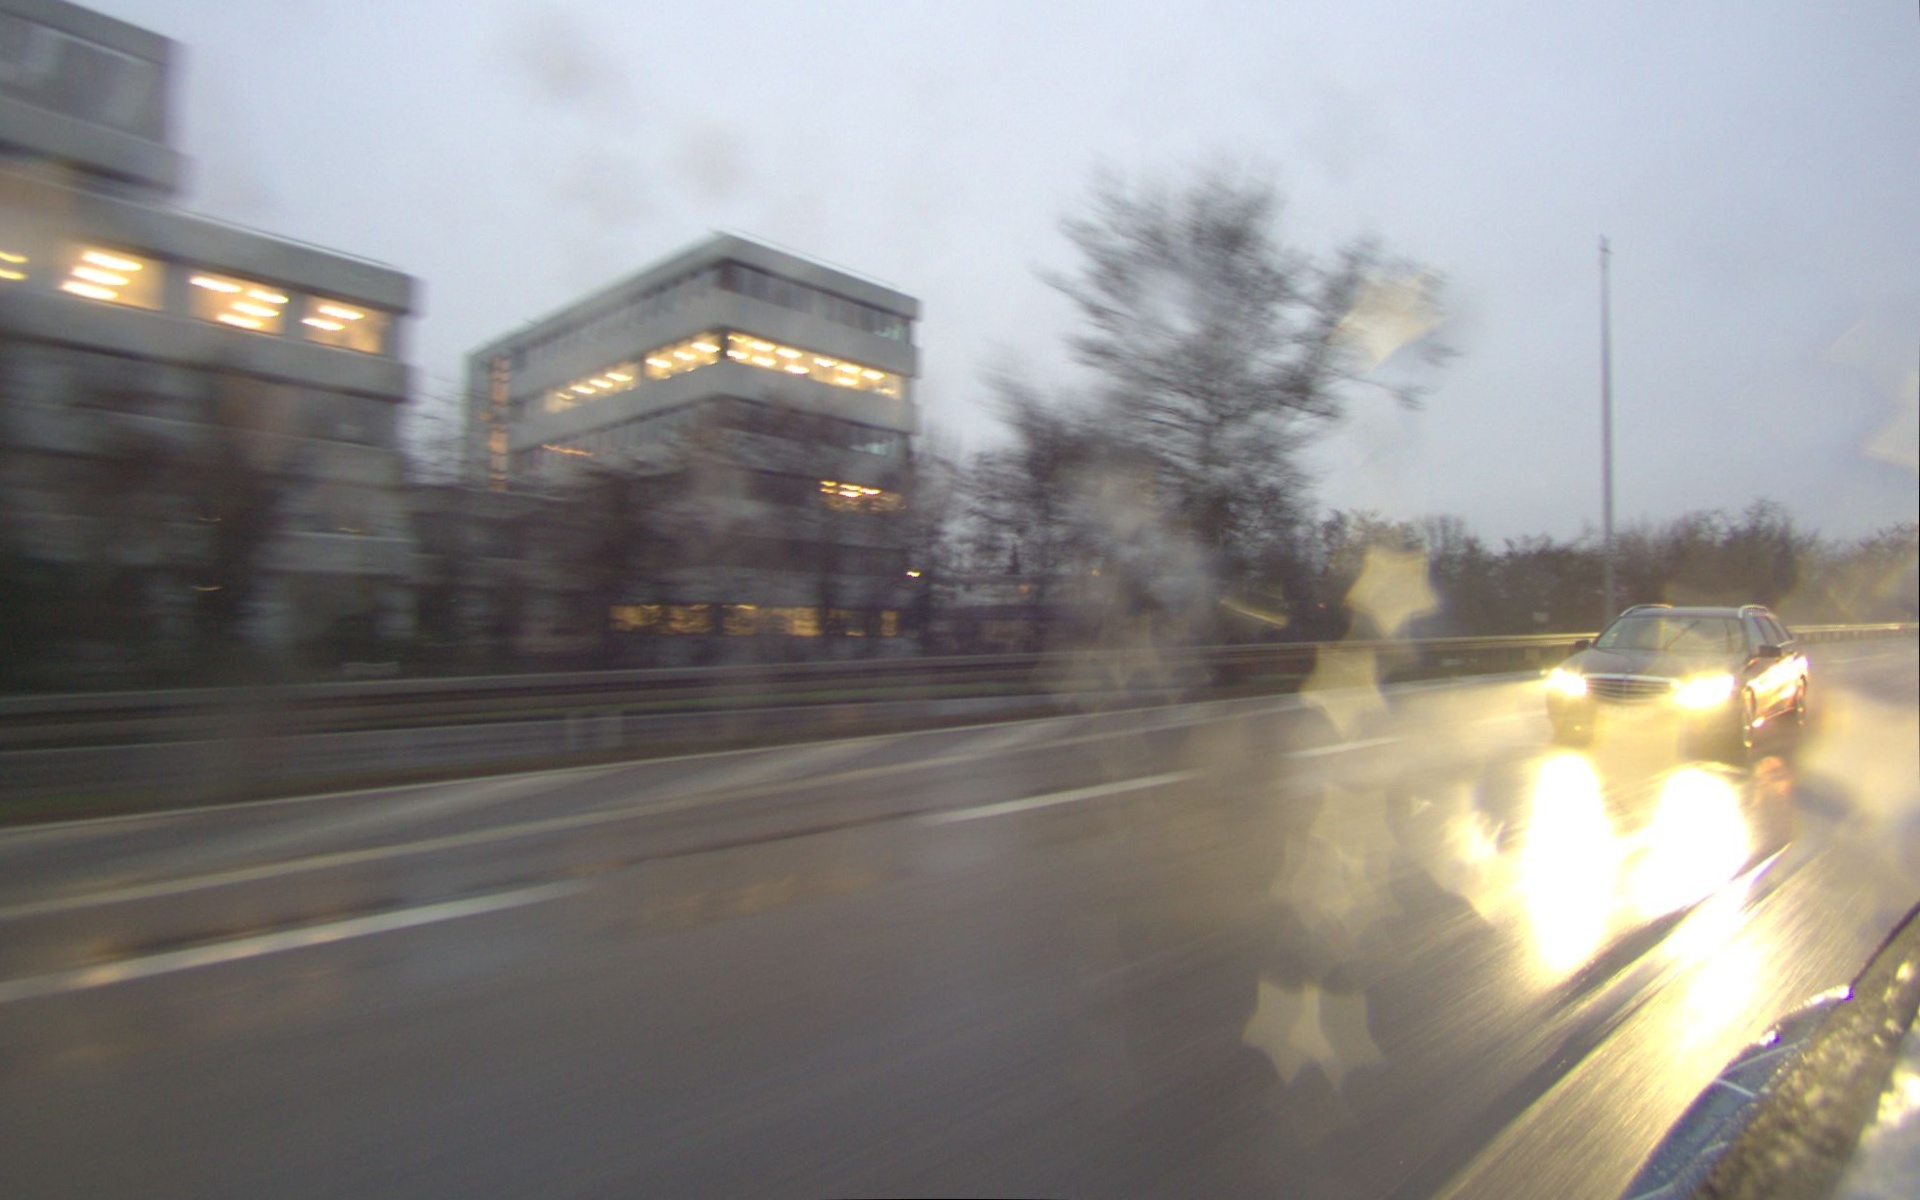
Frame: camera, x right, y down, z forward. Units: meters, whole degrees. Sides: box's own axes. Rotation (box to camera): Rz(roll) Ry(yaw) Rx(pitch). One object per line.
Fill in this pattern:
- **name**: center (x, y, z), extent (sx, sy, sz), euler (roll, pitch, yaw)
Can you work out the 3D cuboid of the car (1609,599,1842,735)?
- **car**: center (9.906, 0.749, 12.980), extent (4.103, 1.472, 1.593), euler (1, -1, -41)
